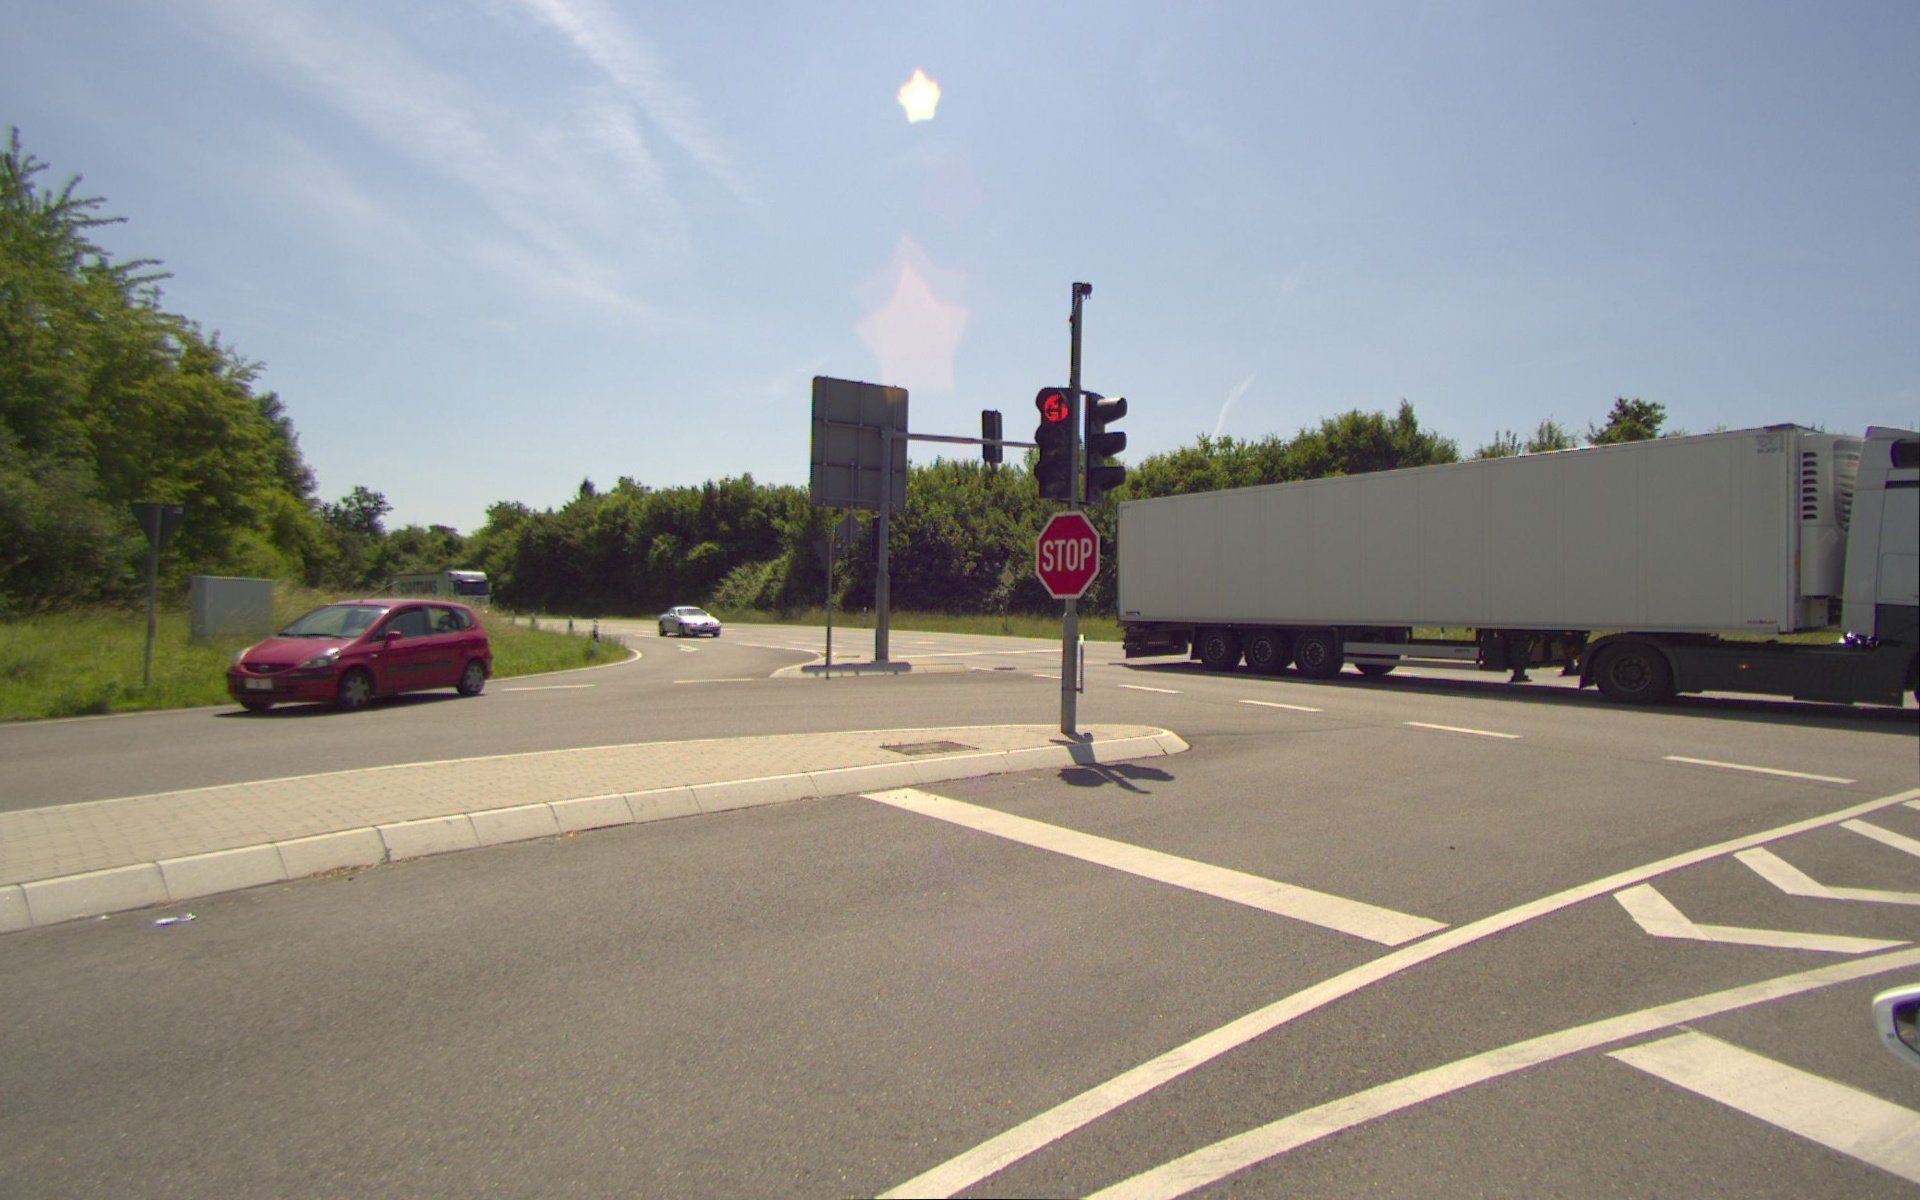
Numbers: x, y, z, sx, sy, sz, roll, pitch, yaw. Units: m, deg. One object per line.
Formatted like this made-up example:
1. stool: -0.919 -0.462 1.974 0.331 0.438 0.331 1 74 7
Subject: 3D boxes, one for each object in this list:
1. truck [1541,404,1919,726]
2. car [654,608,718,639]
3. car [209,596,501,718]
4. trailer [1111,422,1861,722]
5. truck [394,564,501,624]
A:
1. truck: 12.418 -0.444 14.779 2.634 4.090 6.219 0 0 -35
2. car: -12.140 1.013 44.413 1.430 1.301 3.791 0 0 -38
3. car: -8.580 0.742 14.679 1.518 1.519 3.835 1 -1 9
4. trailer: 8.714 -0.417 20.129 2.634 4.090 13.702 0 1 -35
5. truck: -42.264 -0.417 82.346 3.123 4.506 16.239 -1 0 -44
